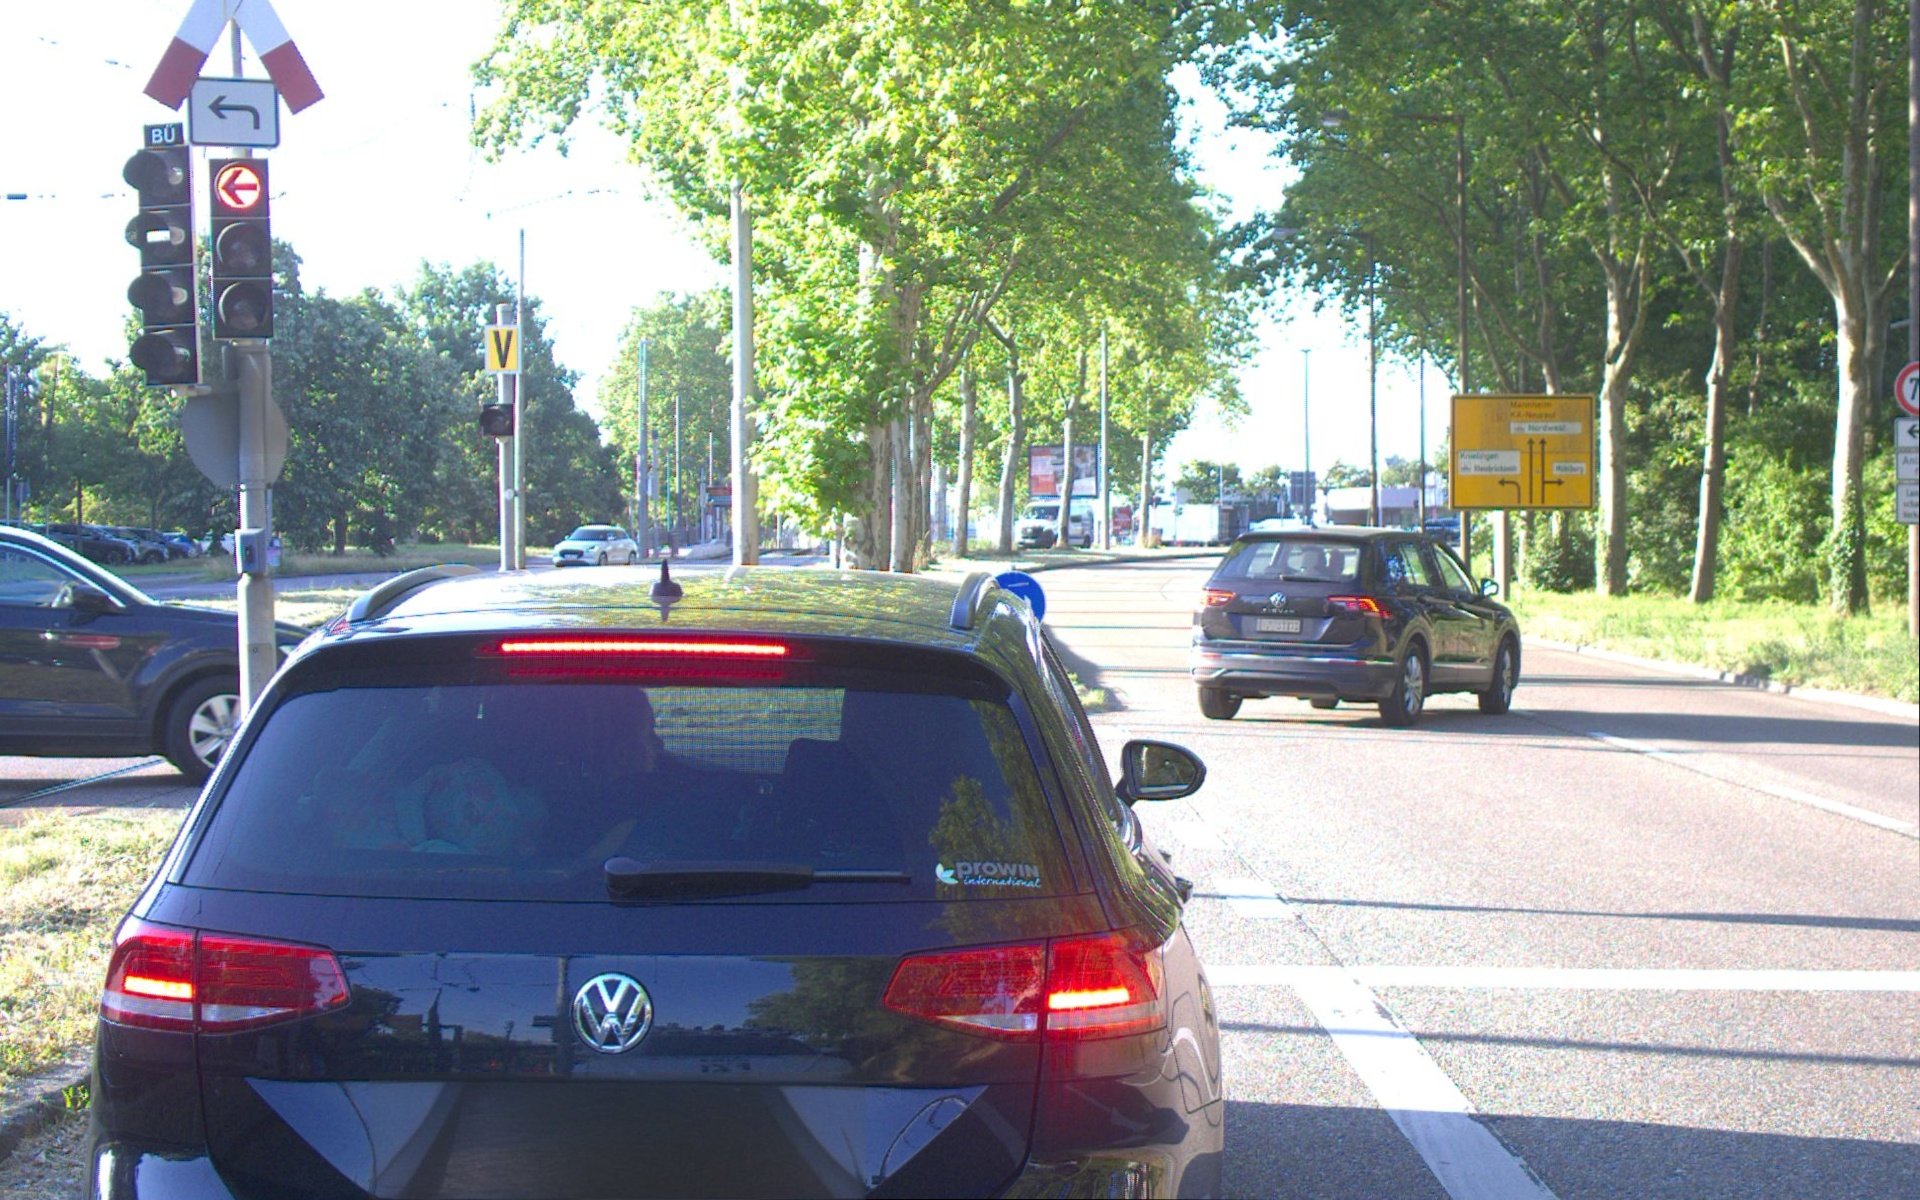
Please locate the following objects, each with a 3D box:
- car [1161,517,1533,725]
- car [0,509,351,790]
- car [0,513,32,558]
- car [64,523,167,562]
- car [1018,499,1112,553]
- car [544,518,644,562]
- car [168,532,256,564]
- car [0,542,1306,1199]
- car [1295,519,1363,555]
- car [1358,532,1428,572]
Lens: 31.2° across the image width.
[{"bbox_3d":[3.384,0.146,29.325,1.874,1.629,4.364,0,0,25],"label":"car"},{"bbox_3d":[-5.738,0.281,20.066,4.151,1.555,1.713,-1,1,-15],"label":"car"},{"bbox_3d":[-35.919,-2.360,124.990,3.986,1.615,1.744,1,1,-5],"label":"car"},{"bbox_3d":[-35.829,-2.451,145.895,3.986,1.615,1.744,1,1,-5],"label":"car"},{"bbox_3d":[4.922,-3.464,160.915,2.098,2.453,5.844,1,2,27],"label":"car"},{"bbox_3d":[-12.760,-2.096,120.050,1.864,1.476,4.087,1,1,20],"label":"car"},{"bbox_3d":[-36.514,-2.541,167.971,3.986,1.550,1.744,1,1,-4],"label":"car"},{"bbox_3d":[-0.476,0.634,6.401,1.795,1.459,3.583,1,1,-1],"label":"car"},{"bbox_3d":[21.228,-3.616,197.589,2.099,2.058,4.871,2,2,30],"label":"car"},{"bbox_3d":[25.601,-2.845,203.018,2.098,2.313,5.843,2,2,29],"label":"car"}]
